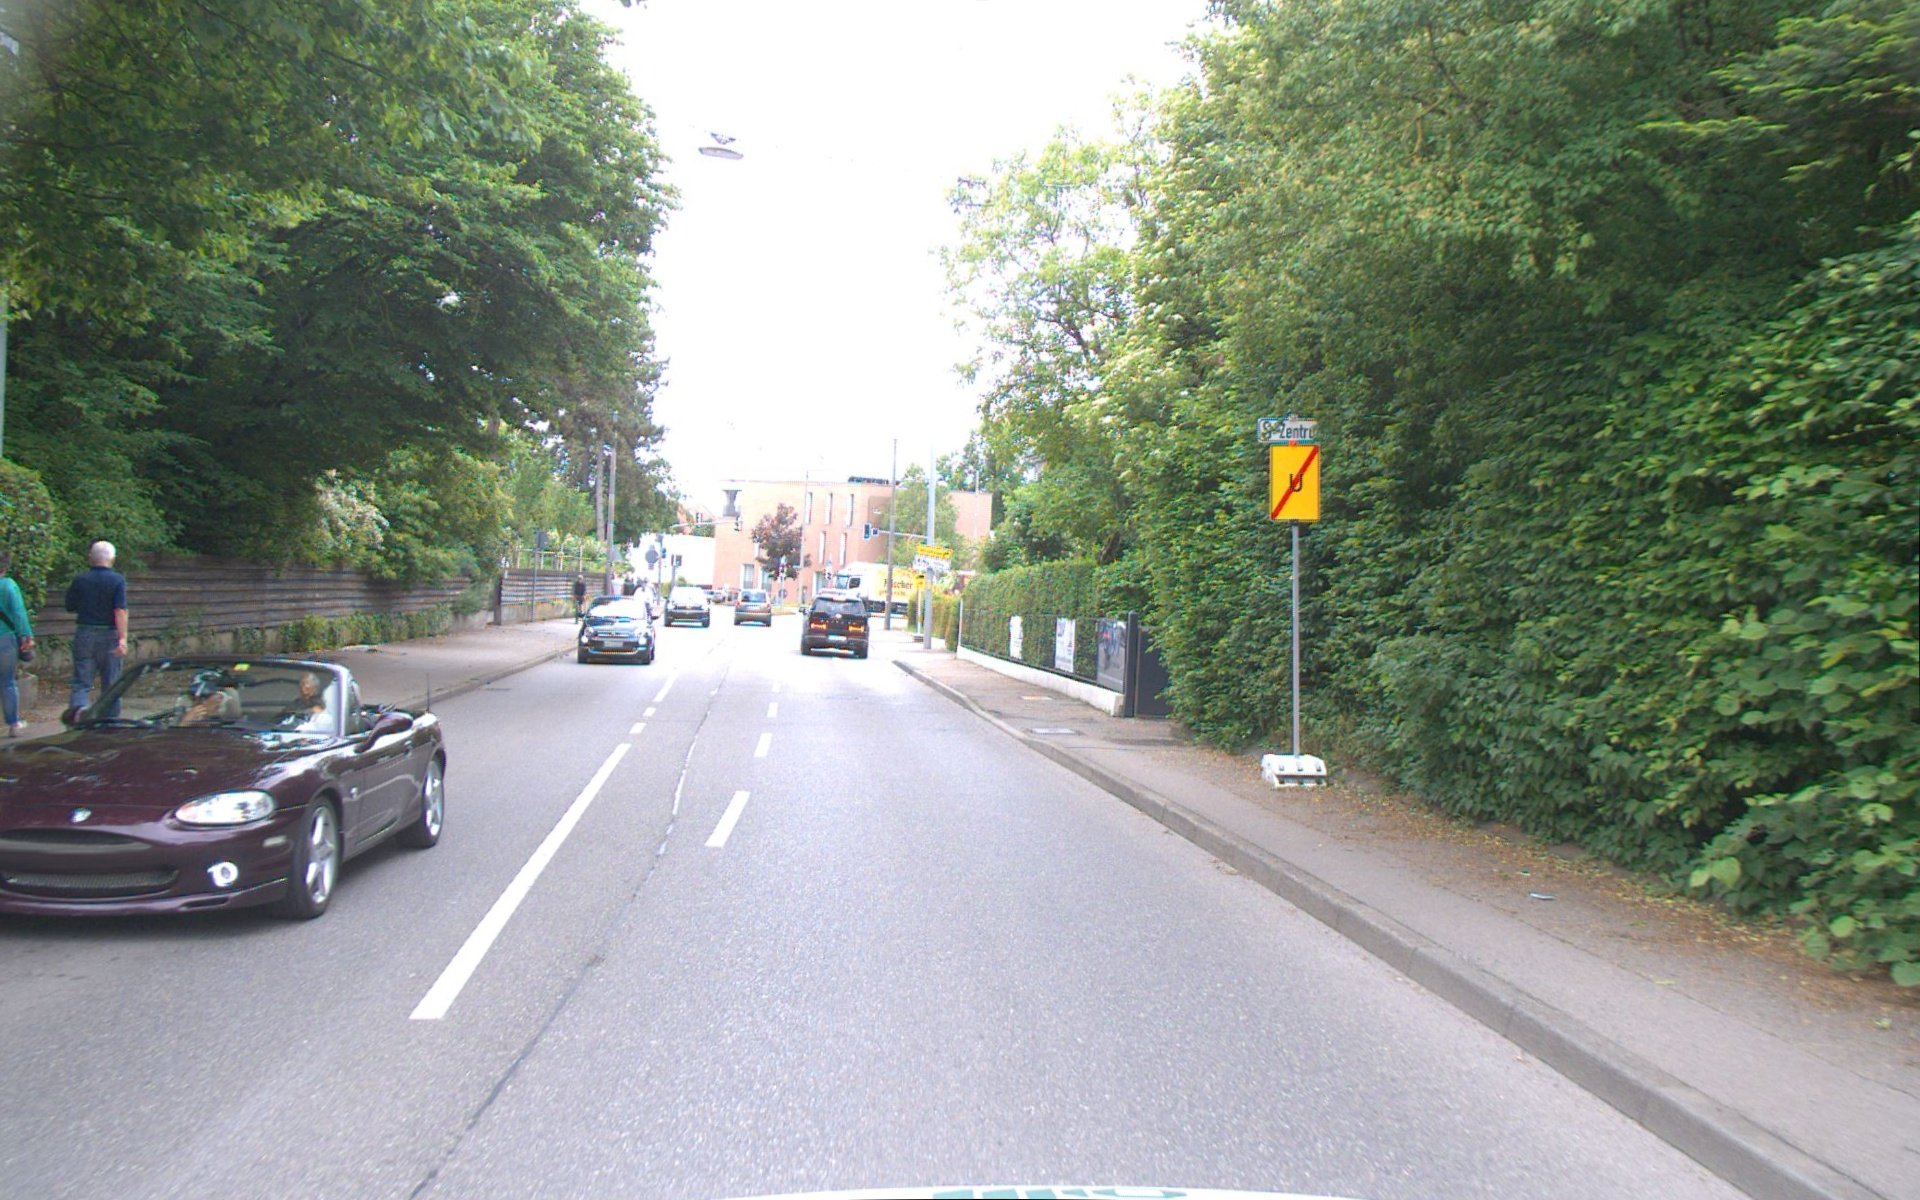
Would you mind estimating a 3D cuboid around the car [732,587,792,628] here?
[{"bbox_3d":[-8.963,0.318,75.114,1.853,1.735,4.002,2,0,5],"label":"car"}]

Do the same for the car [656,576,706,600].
[{"bbox_3d":[-25.382,-1.080,150.414,3.952,2.048,1.977,1,1,-34],"label":"car"}]

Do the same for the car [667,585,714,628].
[{"bbox_3d":[-11.333,0.247,69.370,1.799,1.659,4.272,1,1,-11],"label":"car"}]

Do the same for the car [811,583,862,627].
[{"bbox_3d":[-6.529,0.217,88.226,1.921,2.048,4.431,5,2,4],"label":"car"}]

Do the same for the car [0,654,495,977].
[{"bbox_3d":[-3.748,0.965,8.816,1.657,1.197,3.784,0,0,-3],"label":"car"}]

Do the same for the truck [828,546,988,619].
[{"bbox_3d":[-3.735,-1.247,121.422,11.633,4.817,3.104,2,1,-31],"label":"truck"}]

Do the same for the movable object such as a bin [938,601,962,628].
[{"bbox_3d":[-0.422,0.641,71.131,0.710,1.092,0.671,5,-1,-43],"label":"movable object such as a bin"}]

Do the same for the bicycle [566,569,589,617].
[{"bbox_3d":[-14.036,-0.260,60.765,0.551,1.705,1.978,3,0,-7],"label":"bicycle"}]

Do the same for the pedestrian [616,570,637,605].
[{"bbox_3d":[-17.483,-0.676,86.633,0.806,1.794,0.859,2,0,-29],"label":"pedestrian"}]

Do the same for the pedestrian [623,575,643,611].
[{"bbox_3d":[-17.140,-0.374,86.677,0.744,1.869,0.607,2,0,-35],"label":"pedestrian"}]

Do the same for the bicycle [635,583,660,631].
[{"bbox_3d":[-11.609,0.248,61.509,0.744,1.775,1.869,1,0,-7],"label":"bicycle"}]

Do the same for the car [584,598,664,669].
[{"bbox_3d":[-7.653,0.731,37.717,1.689,1.497,3.521,0,1,-12],"label":"car"}]

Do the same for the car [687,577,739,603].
[{"bbox_3d":[-21.402,-0.872,143.443,3.952,2.048,1.976,2,1,-35],"label":"car"}]

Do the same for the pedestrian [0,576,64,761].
[{"bbox_3d":[-7.840,0.545,13.616,0.659,1.474,0.753,2,0,-20],"label":"pedestrian"}]

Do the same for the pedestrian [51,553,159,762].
[{"bbox_3d":[-7.181,0.473,13.920,0.619,1.691,0.914,2,-1,-19],"label":"pedestrian"}]

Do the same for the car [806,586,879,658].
[{"bbox_3d":[-3.431,0.615,47.751,1.955,1.915,3.995,2,-1,-5],"label":"car"}]

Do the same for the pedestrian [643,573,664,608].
[{"bbox_3d":[-16.128,-0.496,87.077,0.682,1.764,0.749,3,0,38],"label":"pedestrian"}]
